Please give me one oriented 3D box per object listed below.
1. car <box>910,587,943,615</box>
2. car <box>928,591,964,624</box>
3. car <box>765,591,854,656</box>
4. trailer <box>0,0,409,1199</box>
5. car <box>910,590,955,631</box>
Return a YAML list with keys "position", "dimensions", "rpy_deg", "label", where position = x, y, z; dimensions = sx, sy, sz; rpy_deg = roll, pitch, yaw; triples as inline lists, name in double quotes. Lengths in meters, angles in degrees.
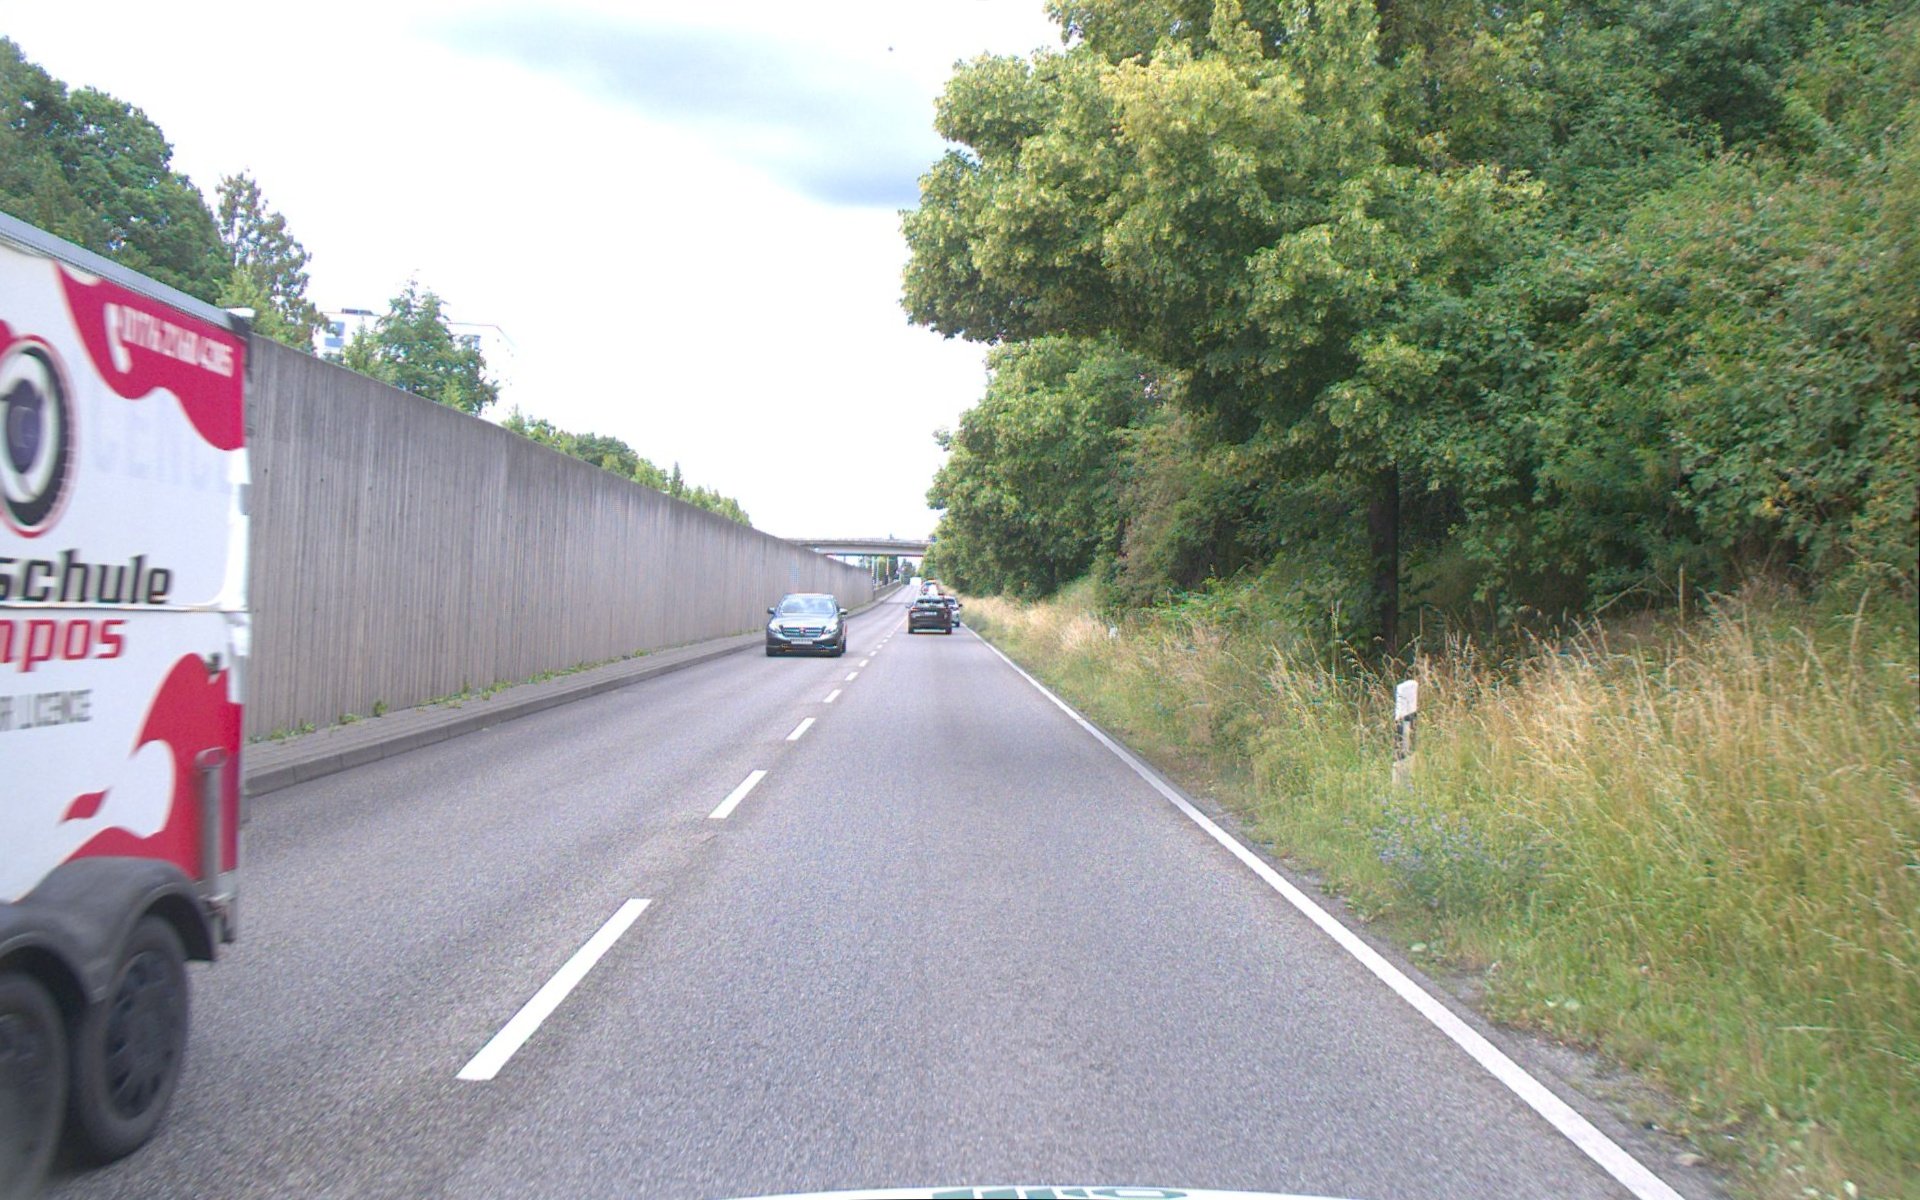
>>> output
- position: [-2.061, 0.073, 100.864]
  dimensions: [1.830, 1.516, 4.254]
  rpy_deg: [4, 0, -3]
  label: "car"
- position: [-0.674, 0.352, 82.362]
  dimensions: [1.718, 1.550, 4.036]
  rpy_deg: [1, 0, 0]
  label: "car"
- position: [-3.712, 0.545, 41.455]
  dimensions: [1.854, 1.509, 4.822]
  rpy_deg: [1, 0, -1]
  label: "car"
- position: [-2.998, 0.088, 3.749]
  dimensions: [2.067, 2.676, 4.371]
  rpy_deg: [1, 0, -1]
  label: "trailer"
- position: [-1.098, 0.449, 66.072]
  dimensions: [1.718, 1.550, 4.035]
  rpy_deg: [1, -1, -1]
  label: "car"
